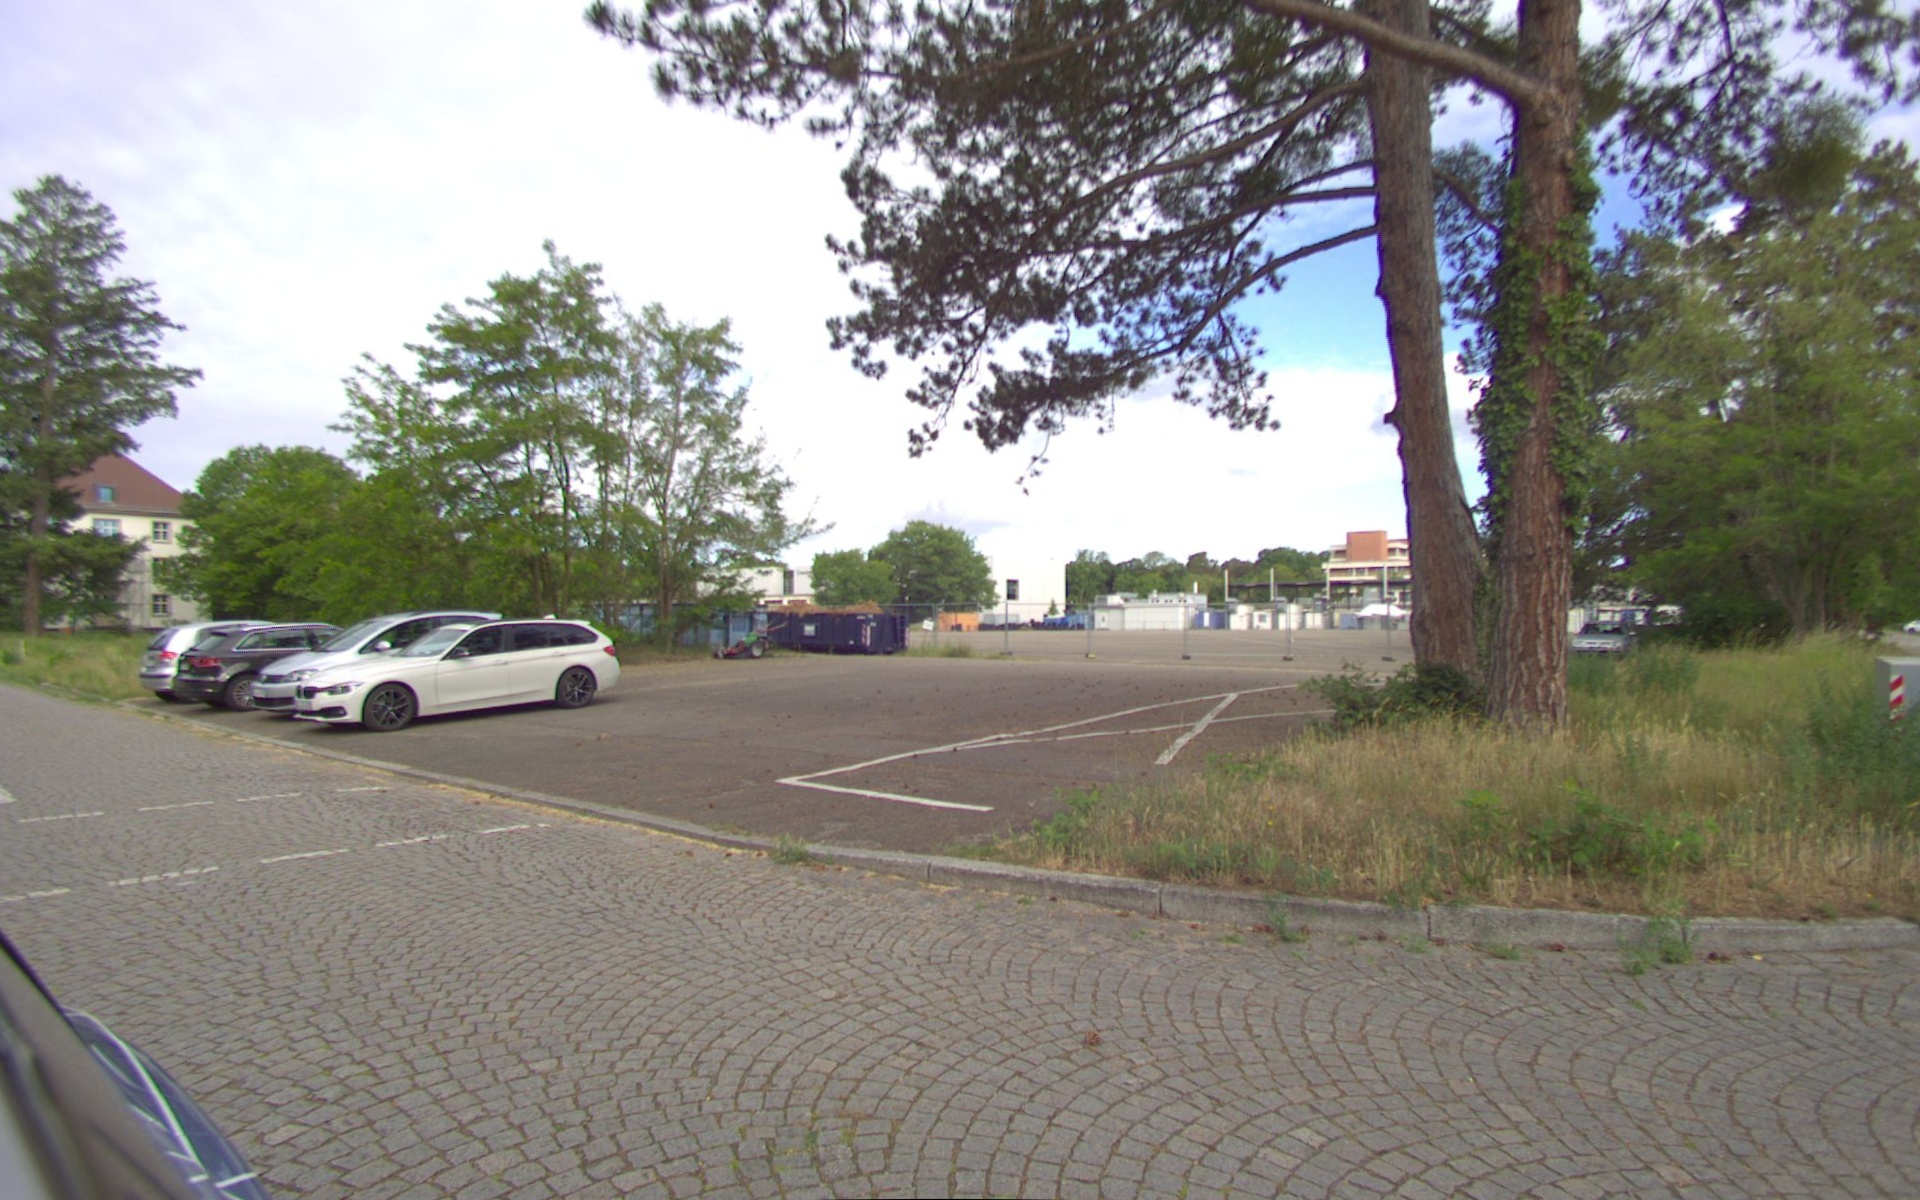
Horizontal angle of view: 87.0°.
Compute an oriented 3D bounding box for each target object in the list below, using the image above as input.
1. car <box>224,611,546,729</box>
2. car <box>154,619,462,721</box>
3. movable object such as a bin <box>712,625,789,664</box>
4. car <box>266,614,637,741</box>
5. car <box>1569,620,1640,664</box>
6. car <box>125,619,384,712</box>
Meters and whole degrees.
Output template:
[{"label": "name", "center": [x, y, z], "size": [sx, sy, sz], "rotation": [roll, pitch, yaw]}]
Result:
[{"label": "car", "center": [-9.488, 1.053, 17.042], "size": [1.868, 1.610, 4.326], "rotation": [-1, 0, 35]}, {"label": "car", "center": [-11.725, 1.170, 18.481], "size": [1.720, 1.435, 4.392], "rotation": [-1, 1, 38]}, {"label": "movable object such as a bin", "center": [-6.364, 1.336, 30.868], "size": [0.857, 1.134, 2.239], "rotation": [-1, -2, 39]}, {"label": "car", "center": [-7.519, 1.055, 15.418], "size": [1.864, 1.499, 4.694], "rotation": [-3, -1, 38]}, {"label": "car", "center": [23.698, 1.495, 37.164], "size": [1.734, 1.443, 4.107], "rotation": [-1, -1, 39]}, {"label": "car", "center": [-13.868, 1.206, 20.087], "size": [1.582, 1.481, 3.913], "rotation": [-1, 1, 37]}]
